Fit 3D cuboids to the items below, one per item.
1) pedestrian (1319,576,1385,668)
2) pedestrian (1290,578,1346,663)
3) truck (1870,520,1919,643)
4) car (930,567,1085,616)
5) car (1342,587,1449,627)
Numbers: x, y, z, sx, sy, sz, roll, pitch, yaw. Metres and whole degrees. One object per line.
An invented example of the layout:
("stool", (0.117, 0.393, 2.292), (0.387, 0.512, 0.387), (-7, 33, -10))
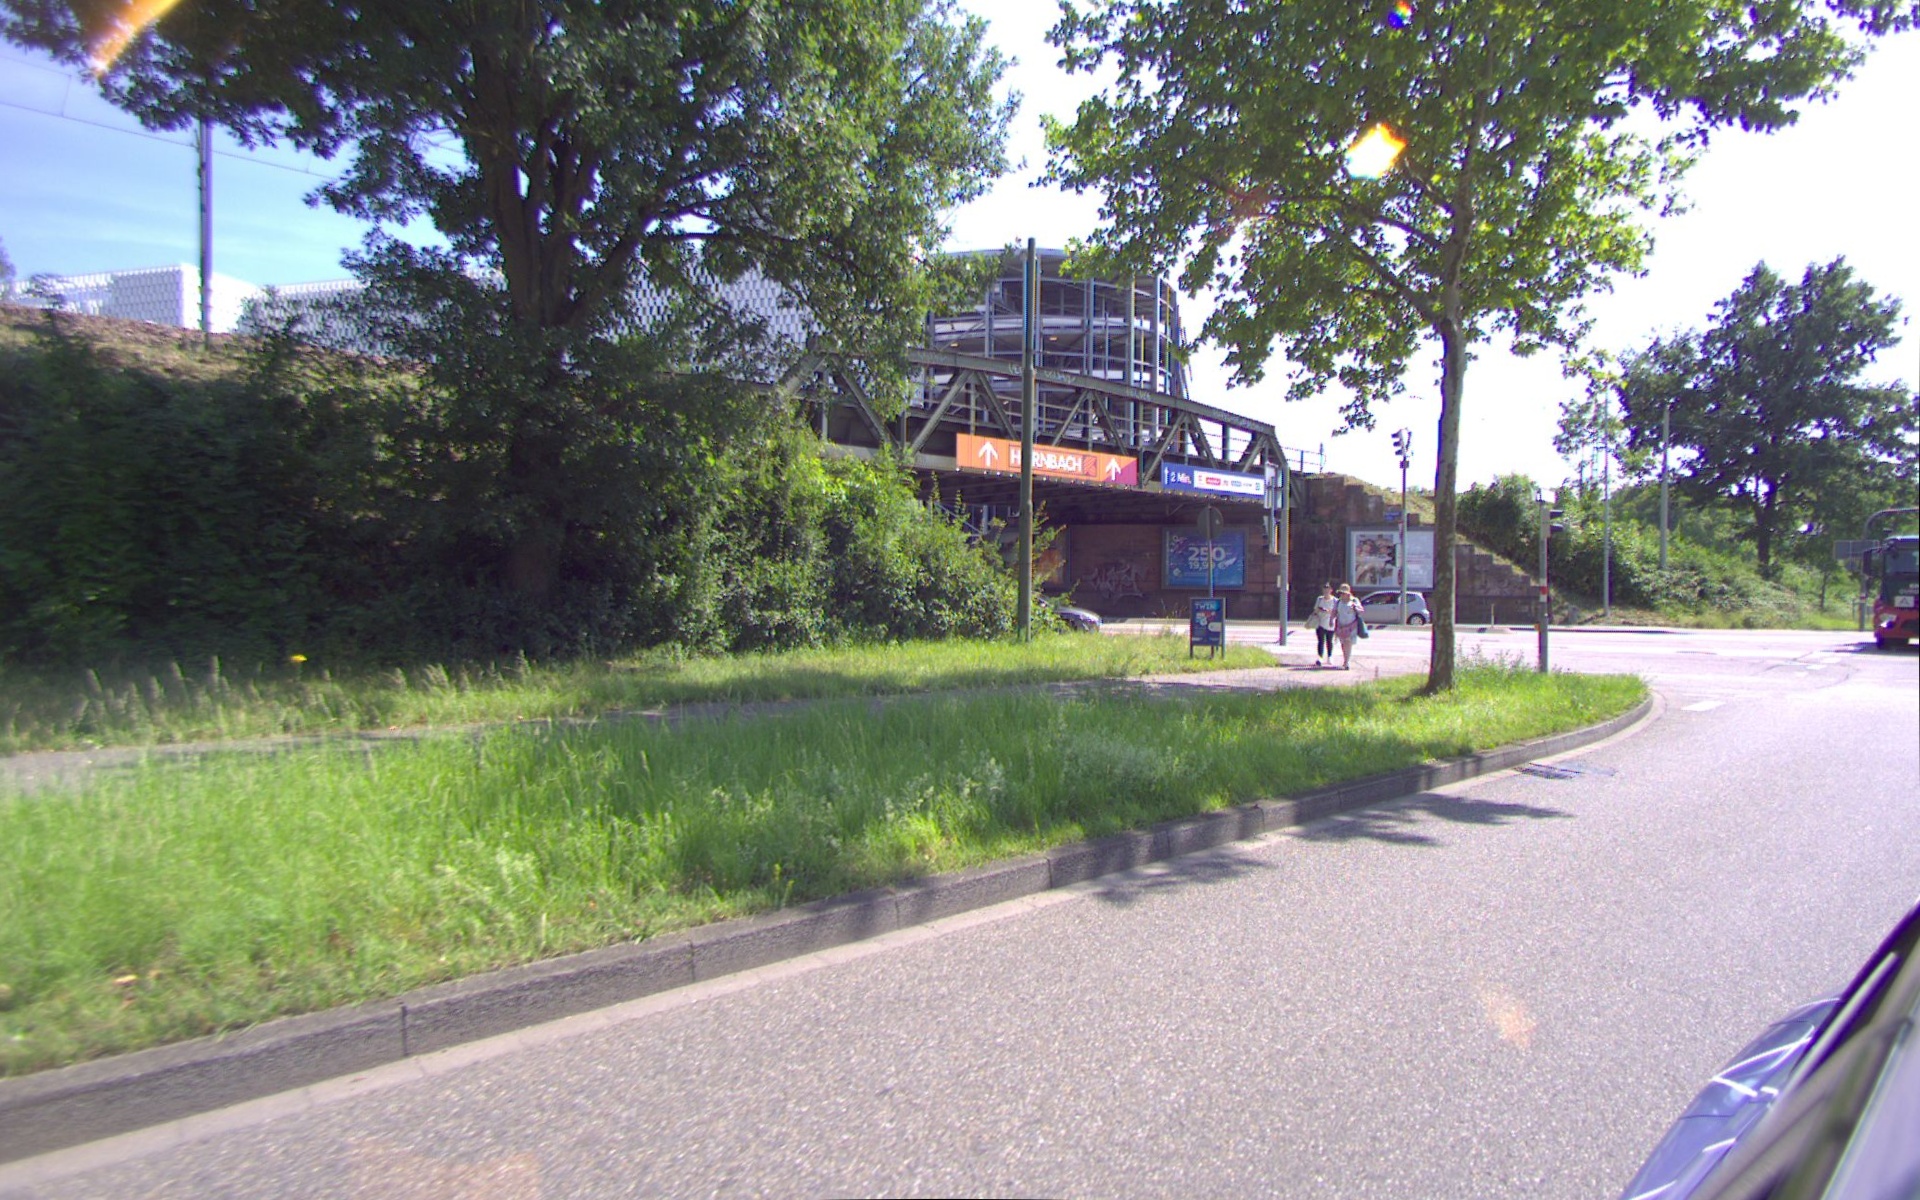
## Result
("pedestrian", (7.237, 0.388, 18.689), (0.764, 1.632, 0.869), (1, 0, -41))
("pedestrian", (6.887, 0.374, 19.477), (0.764, 1.599, 0.730), (1, 0, -41))
("truck", (28.732, -0.501, 29.443), (7.357, 3.308, 2.772), (0, 1, -43))
("car", (1.475, -0.270, 30.713), (4.434, 1.426, 1.992), (1, 0, 14))
("car", (16.933, 0.252, 39.551), (3.627, 1.455, 1.697), (1, 1, 17))
